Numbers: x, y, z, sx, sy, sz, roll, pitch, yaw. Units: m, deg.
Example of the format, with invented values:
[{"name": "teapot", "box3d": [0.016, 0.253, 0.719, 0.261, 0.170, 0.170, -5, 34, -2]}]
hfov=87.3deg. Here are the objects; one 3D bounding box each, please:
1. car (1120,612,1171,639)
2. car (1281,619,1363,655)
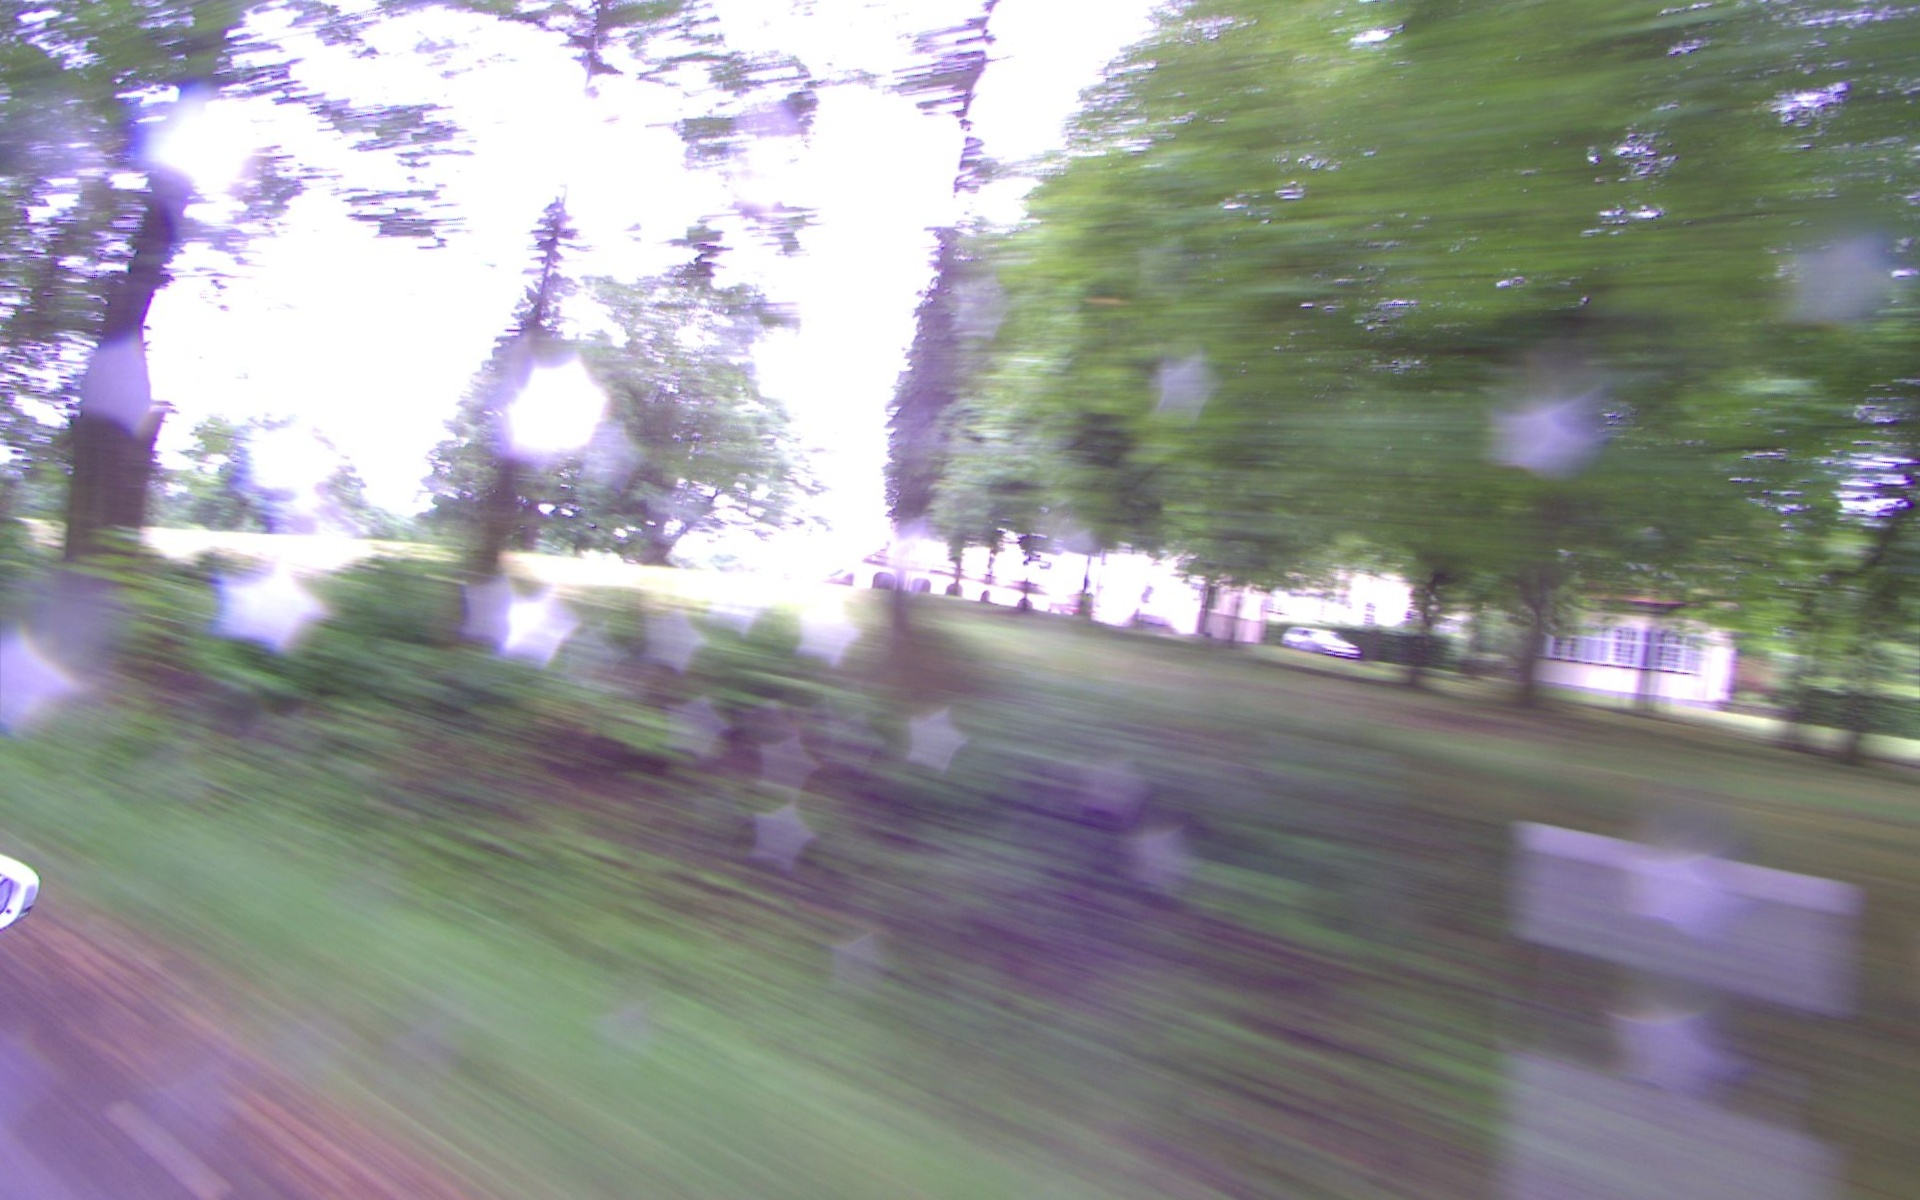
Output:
[{"name": "car", "box3d": [14.188, 1.902, 77.113, 1.967, 1.570, 5.051, 7, 0, -11]}, {"name": "car", "box3d": [19.723, 1.986, 55.042, 1.969, 1.446, 4.280, 7, 0, -16]}]
